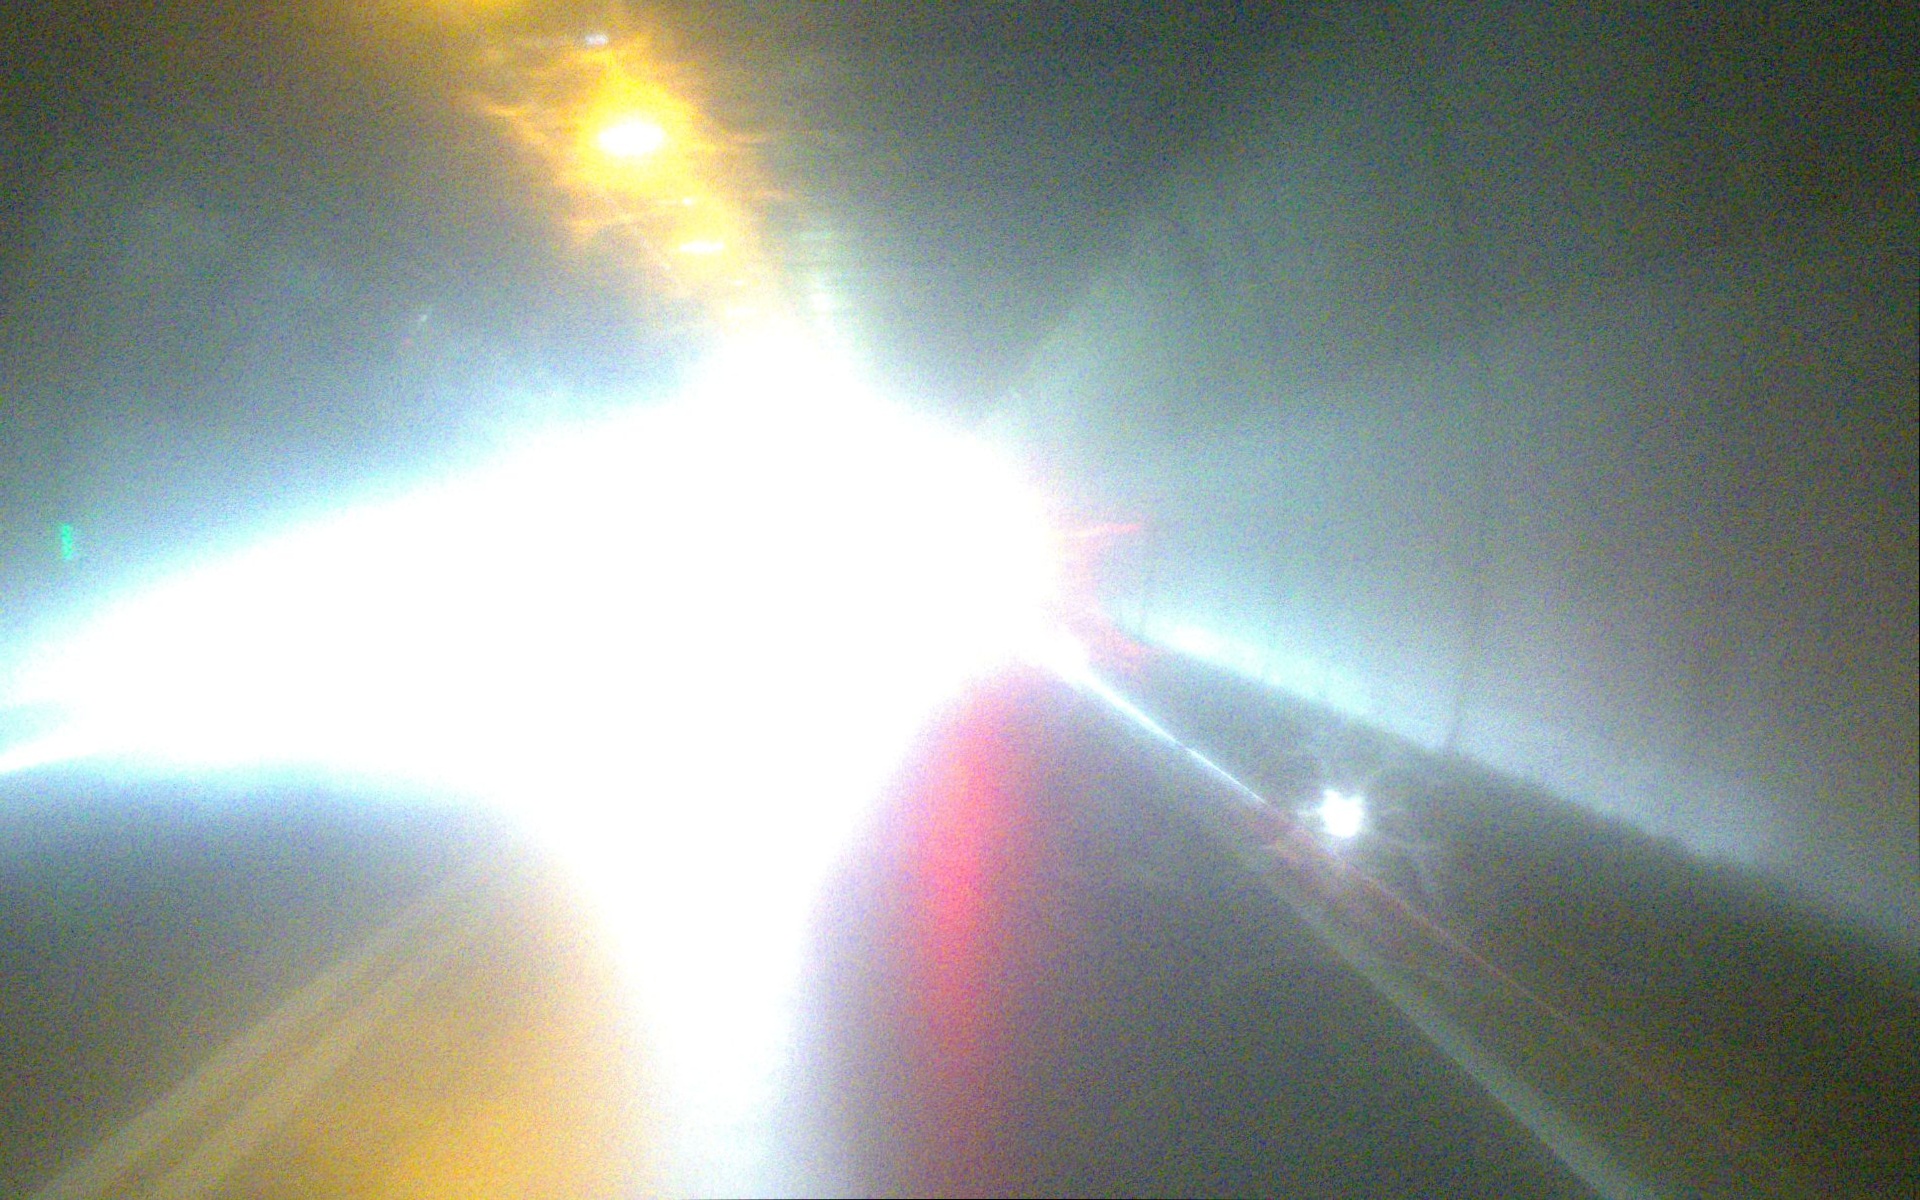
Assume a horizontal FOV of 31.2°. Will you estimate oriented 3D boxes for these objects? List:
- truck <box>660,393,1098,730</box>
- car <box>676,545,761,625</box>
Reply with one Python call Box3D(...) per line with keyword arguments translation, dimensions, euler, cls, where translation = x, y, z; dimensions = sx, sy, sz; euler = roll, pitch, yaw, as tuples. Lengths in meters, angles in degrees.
Box3D(translation=(-0.732, -0.369, 32.618), dimensions=(3.535, 2.684, 8.956), euler=(1, 1, -1), cls="truck")
Box3D(translation=(-5.099, -0.333, 72.859), dimensions=(1.569, 1.626, 3.730), euler=(1, 1, -1), cls="car")
